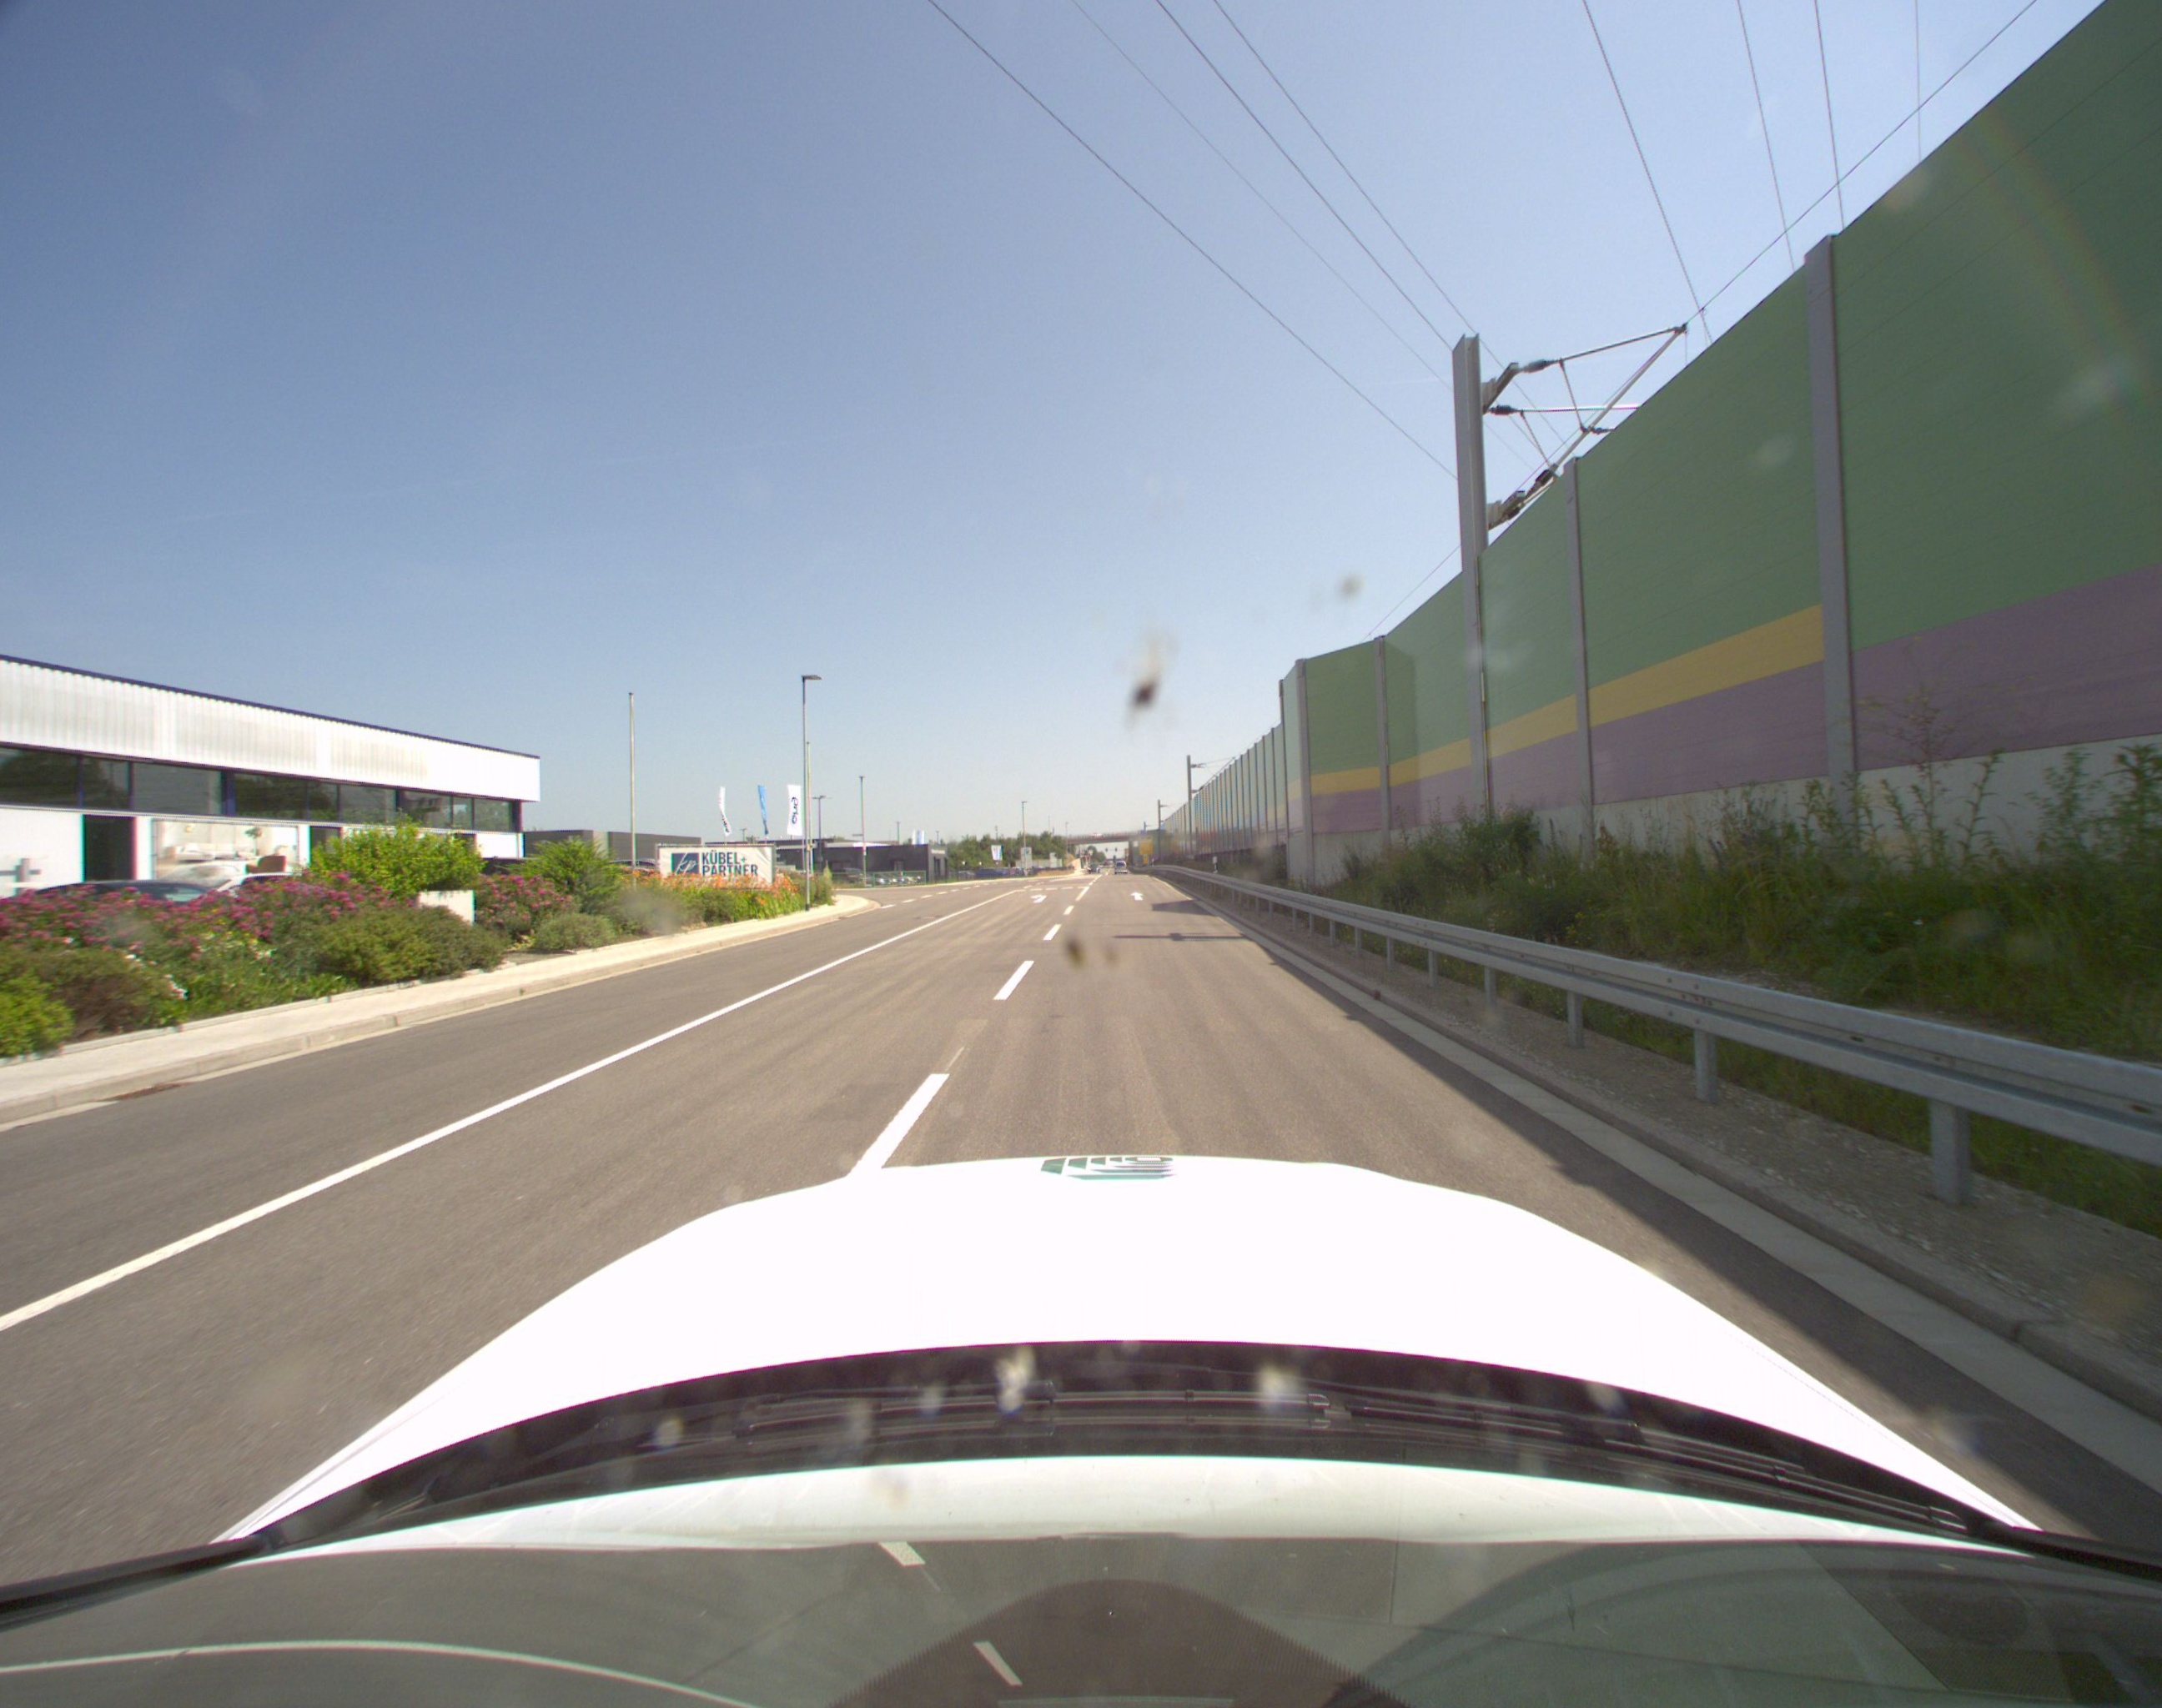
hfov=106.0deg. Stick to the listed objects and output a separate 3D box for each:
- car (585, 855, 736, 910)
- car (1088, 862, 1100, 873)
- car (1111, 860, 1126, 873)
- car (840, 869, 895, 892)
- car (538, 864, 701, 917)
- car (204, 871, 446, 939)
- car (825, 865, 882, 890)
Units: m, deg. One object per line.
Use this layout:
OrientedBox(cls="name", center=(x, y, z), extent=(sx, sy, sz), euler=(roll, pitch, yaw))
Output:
OrientedBox(cls="car", center=(-14.613, 0.968, 28.472), extent=(4.212, 1.648, 1.833), euler=(-3, 0, -2))
OrientedBox(cls="car", center=(2.198, 2.207, 135.452), extent=(1.870, 1.673, 4.293), euler=(-2, 0, 3))
OrientedBox(cls="car", center=(5.379, 1.762, 115.197), extent=(1.985, 1.757, 4.004), euler=(-2, -1, 4))
OrientedBox(cls="car", center=(-17.797, 2.189, 67.952), extent=(3.973, 1.632, 1.886), euler=(-3, 0, 0))
OrientedBox(cls="car", center=(-14.640, 1.140, 26.045), extent=(3.981, 1.414, 1.996), euler=(-3, 0, -5))
OrientedBox(cls="car", center=(-15.363, 1.009, 16.664), extent=(3.497, 1.254, 1.505), euler=(1, 0, 0))
OrientedBox(cls="car", center=(-17.959, 1.865, 64.279), extent=(4.619, 1.865, 2.079), euler=(-3, -3, 39))
